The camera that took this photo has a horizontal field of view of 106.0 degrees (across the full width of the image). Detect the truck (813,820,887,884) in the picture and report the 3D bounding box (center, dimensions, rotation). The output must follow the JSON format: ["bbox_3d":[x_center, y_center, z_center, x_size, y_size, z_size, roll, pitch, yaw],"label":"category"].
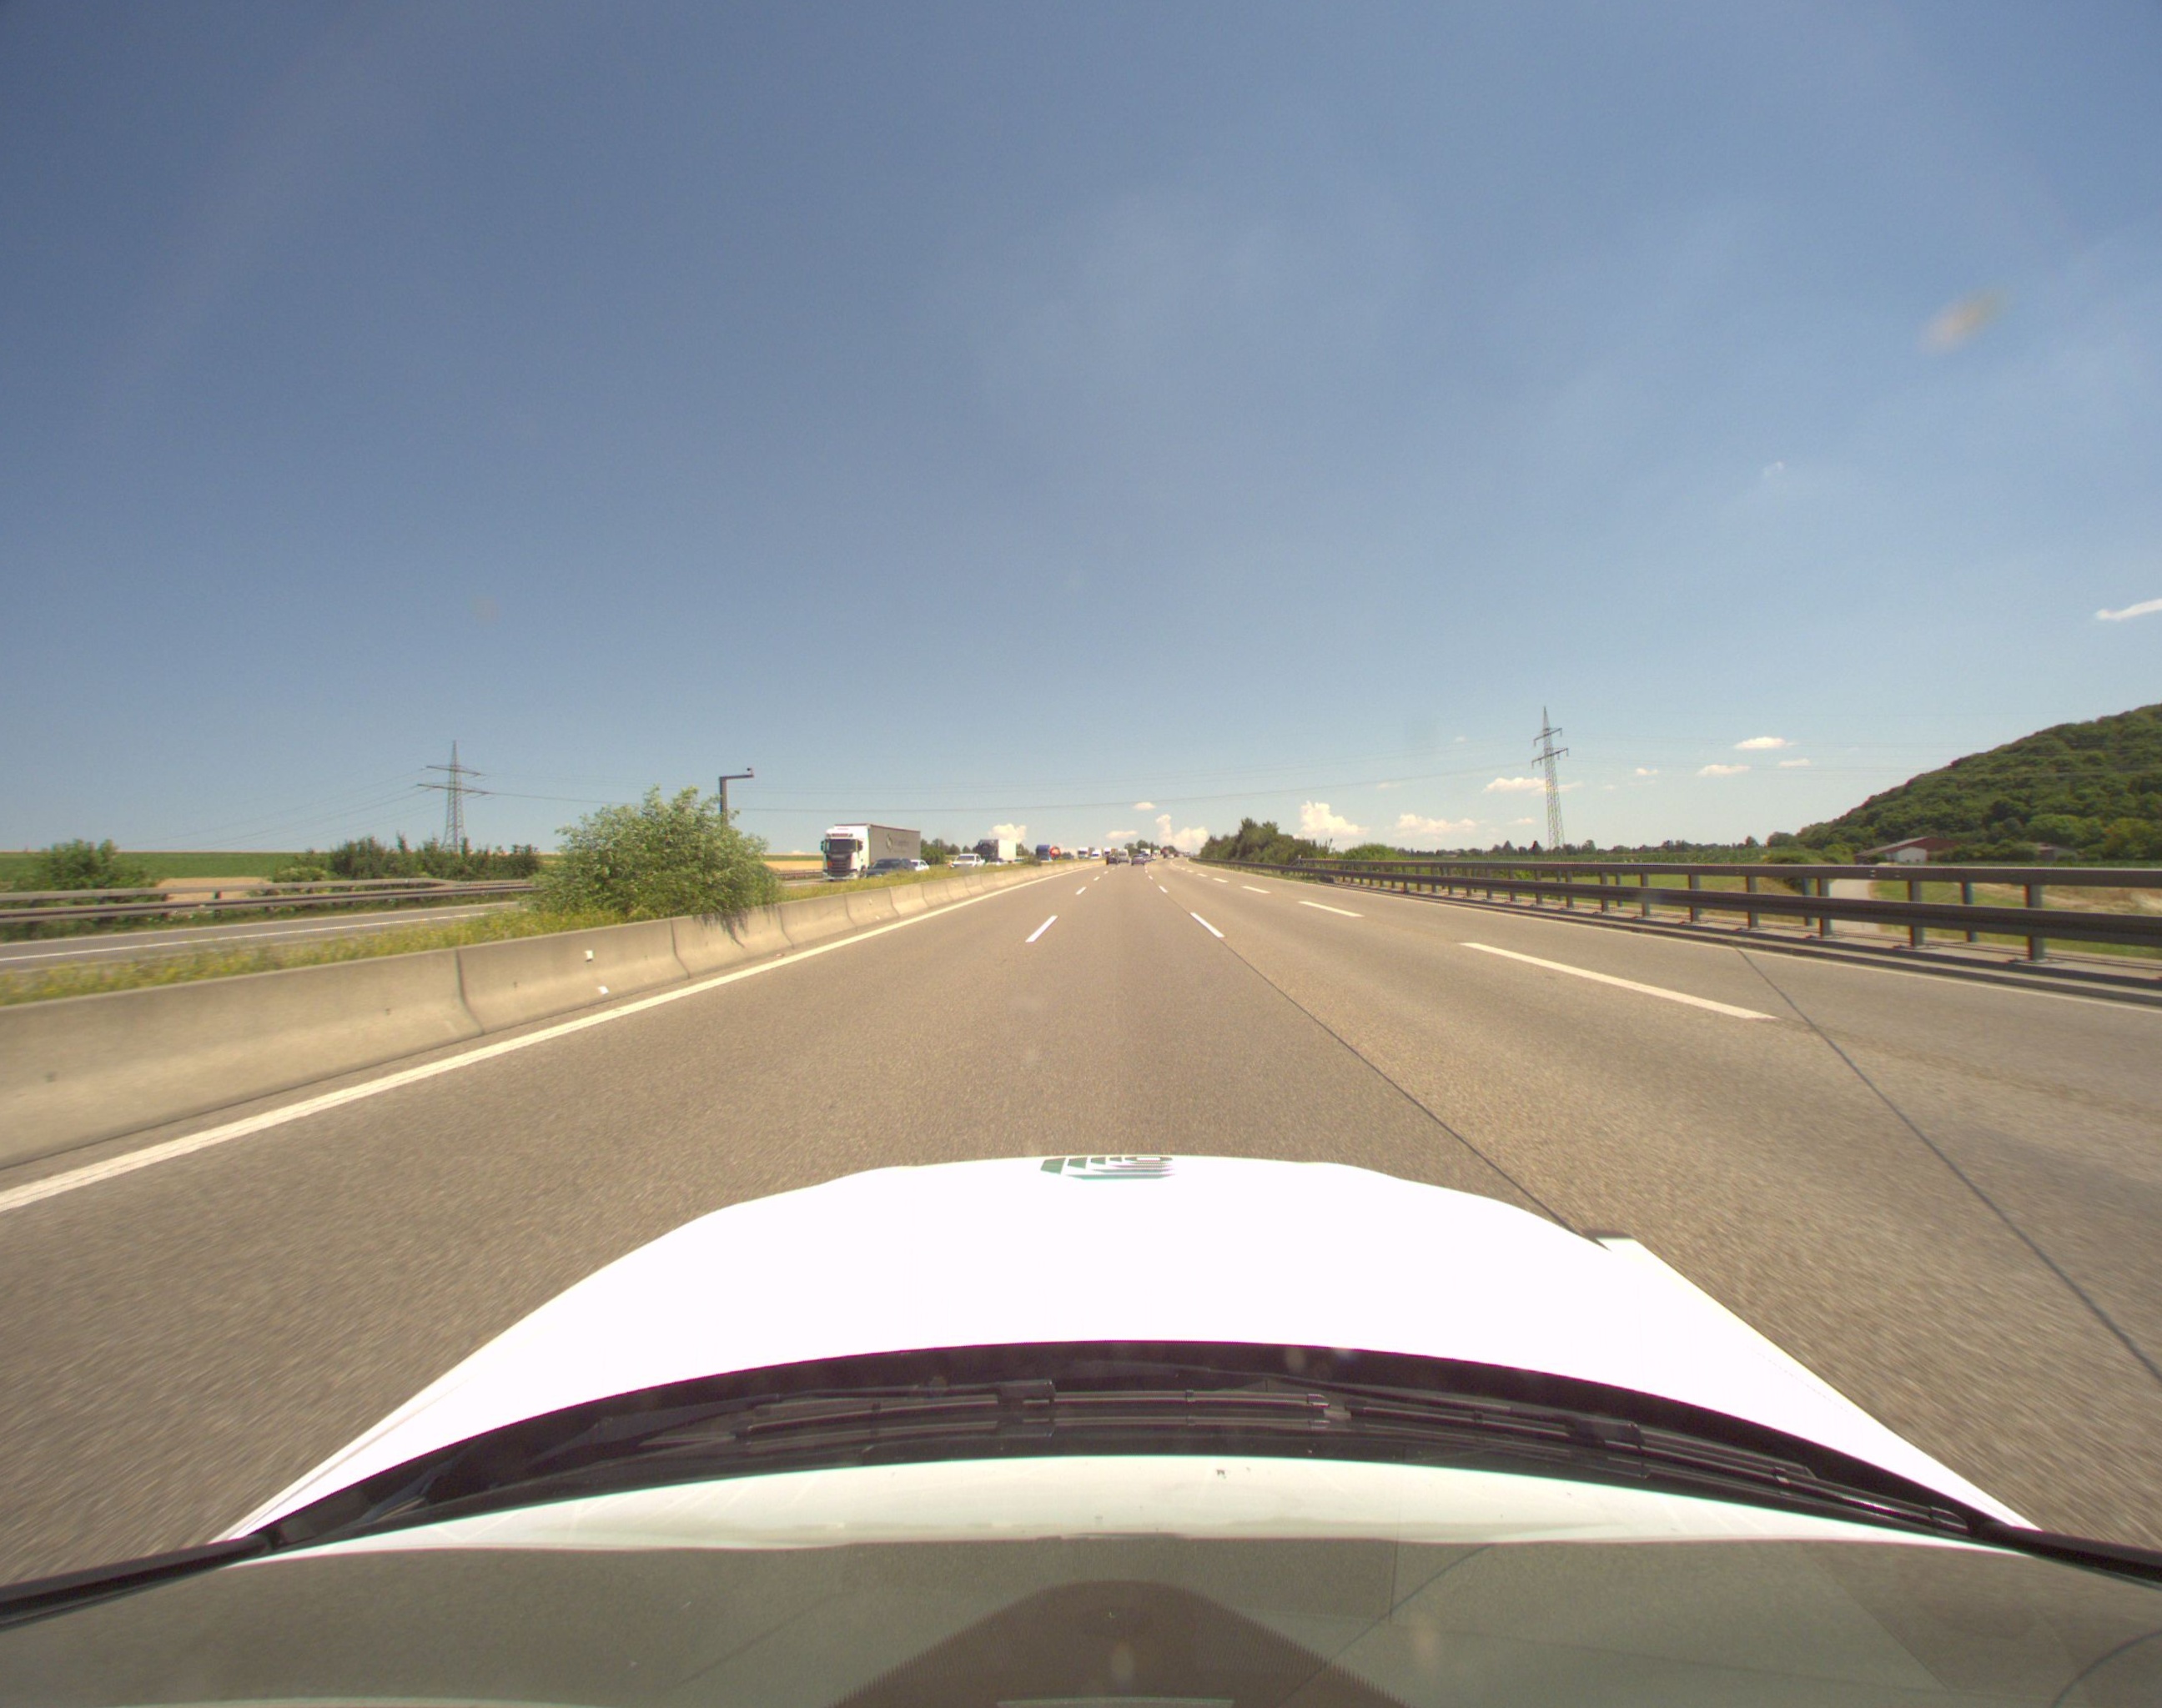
[{"bbox_3d":[-16.471,-0.101,58.476,3.118,4.328,6.153,-1,-1,4],"label":"truck"}]

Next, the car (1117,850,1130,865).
[{"bbox_3d":[8.097,0.667,154.343,2.169,2.625,4.679,-1,-3,6],"label":"car"}]

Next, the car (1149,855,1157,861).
[{"bbox_3d":[18.309,0.941,207.164,1.983,1.552,4.007,0,0,7],"label":"car"}]

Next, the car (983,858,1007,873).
[{"bbox_3d":[-9.841,1.296,93.695,1.985,1.587,4.593,-1,-1,4],"label":"car"}]

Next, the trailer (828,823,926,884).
[{"bbox_3d":[-15.928,0.046,65.384,3.109,4.324,14.562,-1,-1,5],"label":"trailer"}]

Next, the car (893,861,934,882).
[{"bbox_3d":[-12.060,1.251,58.835,1.836,1.460,4.493,0,-1,2],"label":"car"}]

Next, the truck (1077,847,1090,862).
[{"bbox_3d":[0.742,0.171,223.915,2.837,4.027,6.529,-1,-1,8],"label":"truck"}]

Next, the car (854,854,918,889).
[{"bbox_3d":[-9.787,0.854,41.243,1.986,1.673,4.479,0,0,2],"label":"car"}]

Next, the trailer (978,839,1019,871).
[{"bbox_3d":[-11.779,0.180,117.926,3.227,4.387,14.045,-1,0,5],"label":"trailer"}]

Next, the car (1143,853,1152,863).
[{"bbox_3d":[14.247,0.946,174.641,1.984,1.904,4.004,-1,-3,4],"label":"car"}]

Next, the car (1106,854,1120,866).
[{"bbox_3d":[5.133,0.945,130.023,1.838,1.861,4.213,-1,0,6],"label":"car"}]

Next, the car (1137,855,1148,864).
[{"bbox_3d":[11.774,1.008,155.777,1.984,1.585,4.004,-2,-2,4],"label":"car"}]

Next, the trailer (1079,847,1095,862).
[{"bbox_3d":[1.727,0.189,230.460,2.777,4.105,14.038,-1,-1,8],"label":"trailer"}]

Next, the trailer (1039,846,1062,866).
[{"bbox_3d":[-6.126,0.533,167.798,2.824,3.958,13.750,-1,-1,6],"label":"trailer"}]

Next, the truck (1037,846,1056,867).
[{"bbox_3d":[-6.787,0.549,161.202,2.763,3.938,6.146,-1,0,5],"label":"truck"}]

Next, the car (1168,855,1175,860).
[{"bbox_3d":[26.390,0.890,237.843,1.892,1.442,4.008,-1,0,7],"label":"car"}]

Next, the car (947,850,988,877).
[{"bbox_3d":[-8.509,0.717,61.578,1.985,1.904,5.681,0,-1,3],"label":"car"}]

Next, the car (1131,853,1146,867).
[{"bbox_3d":[8.262,0.913,116.306,1.984,1.750,4.005,-1,-3,5],"label":"car"}]

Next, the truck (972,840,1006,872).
[{"bbox_3d":[-12.434,0.237,110.947,3.211,4.206,7.135,-1,0,5],"label":"truck"}]
